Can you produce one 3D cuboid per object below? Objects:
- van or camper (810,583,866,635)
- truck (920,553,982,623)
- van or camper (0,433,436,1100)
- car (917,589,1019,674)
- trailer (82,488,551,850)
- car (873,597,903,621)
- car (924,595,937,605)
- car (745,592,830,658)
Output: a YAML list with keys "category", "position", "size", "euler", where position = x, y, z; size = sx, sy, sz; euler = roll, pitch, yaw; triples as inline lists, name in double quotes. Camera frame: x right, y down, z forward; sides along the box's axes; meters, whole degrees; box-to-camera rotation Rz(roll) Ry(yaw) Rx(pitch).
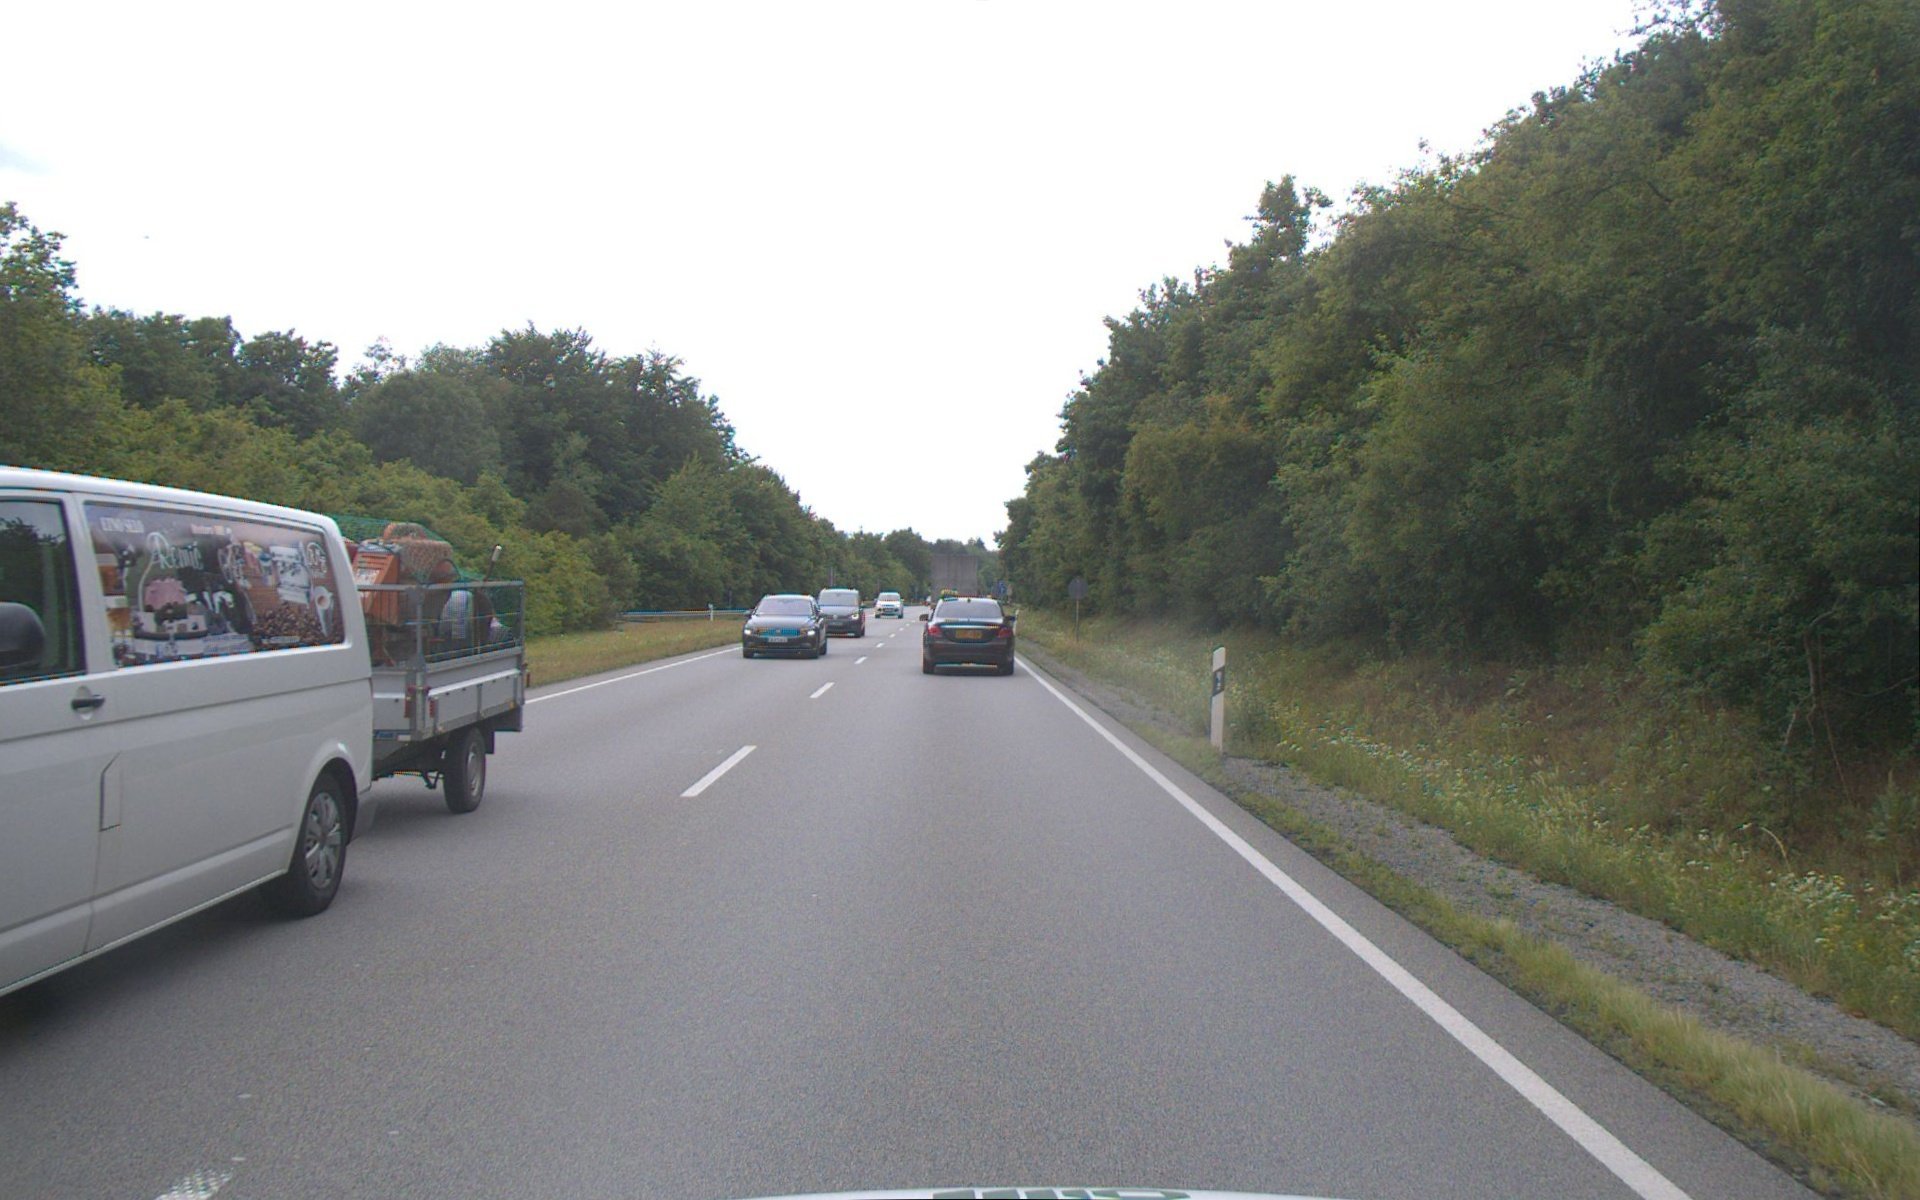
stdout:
- category: "van or camper"
  position: [-4.452, 0.323, 60.769]
  size: [1.954, 1.814, 4.418]
  euler: [1, 0, -4]
- category: "truck"
  position: [-0.475, -0.633, 93.349]
  size: [3.214, 3.675, 11.399]
  euler: [1, 0, 0]
- category: "van or camper"
  position: [-3.727, 0.469, 6.155]
  size: [1.882, 1.926, 5.361]
  euler: [1, 0, -1]
- category: "car"
  position: [0.108, 0.600, 33.218]
  size: [1.756, 1.579, 3.997]
  euler: [1, 0, -4]
- category: "trailer"
  position: [-3.923, 0.373, 10.783]
  size: [1.589, 1.926, 3.783]
  euler: [1, 0, -1]
- category: "car"
  position: [-4.849, 0.590, 111.830]
  size: [1.837, 1.587, 3.754]
  euler: [1, 0, -1]
- category: "car"
  position: [-4.270, 0.008, 238.301]
  size: [1.771, 1.467, 4.446]
  euler: [1, 0, -2]
- category: "car"
  position: [-4.176, 0.586, 40.579]
  size: [1.654, 1.505, 4.455]
  euler: [1, 0, -1]
